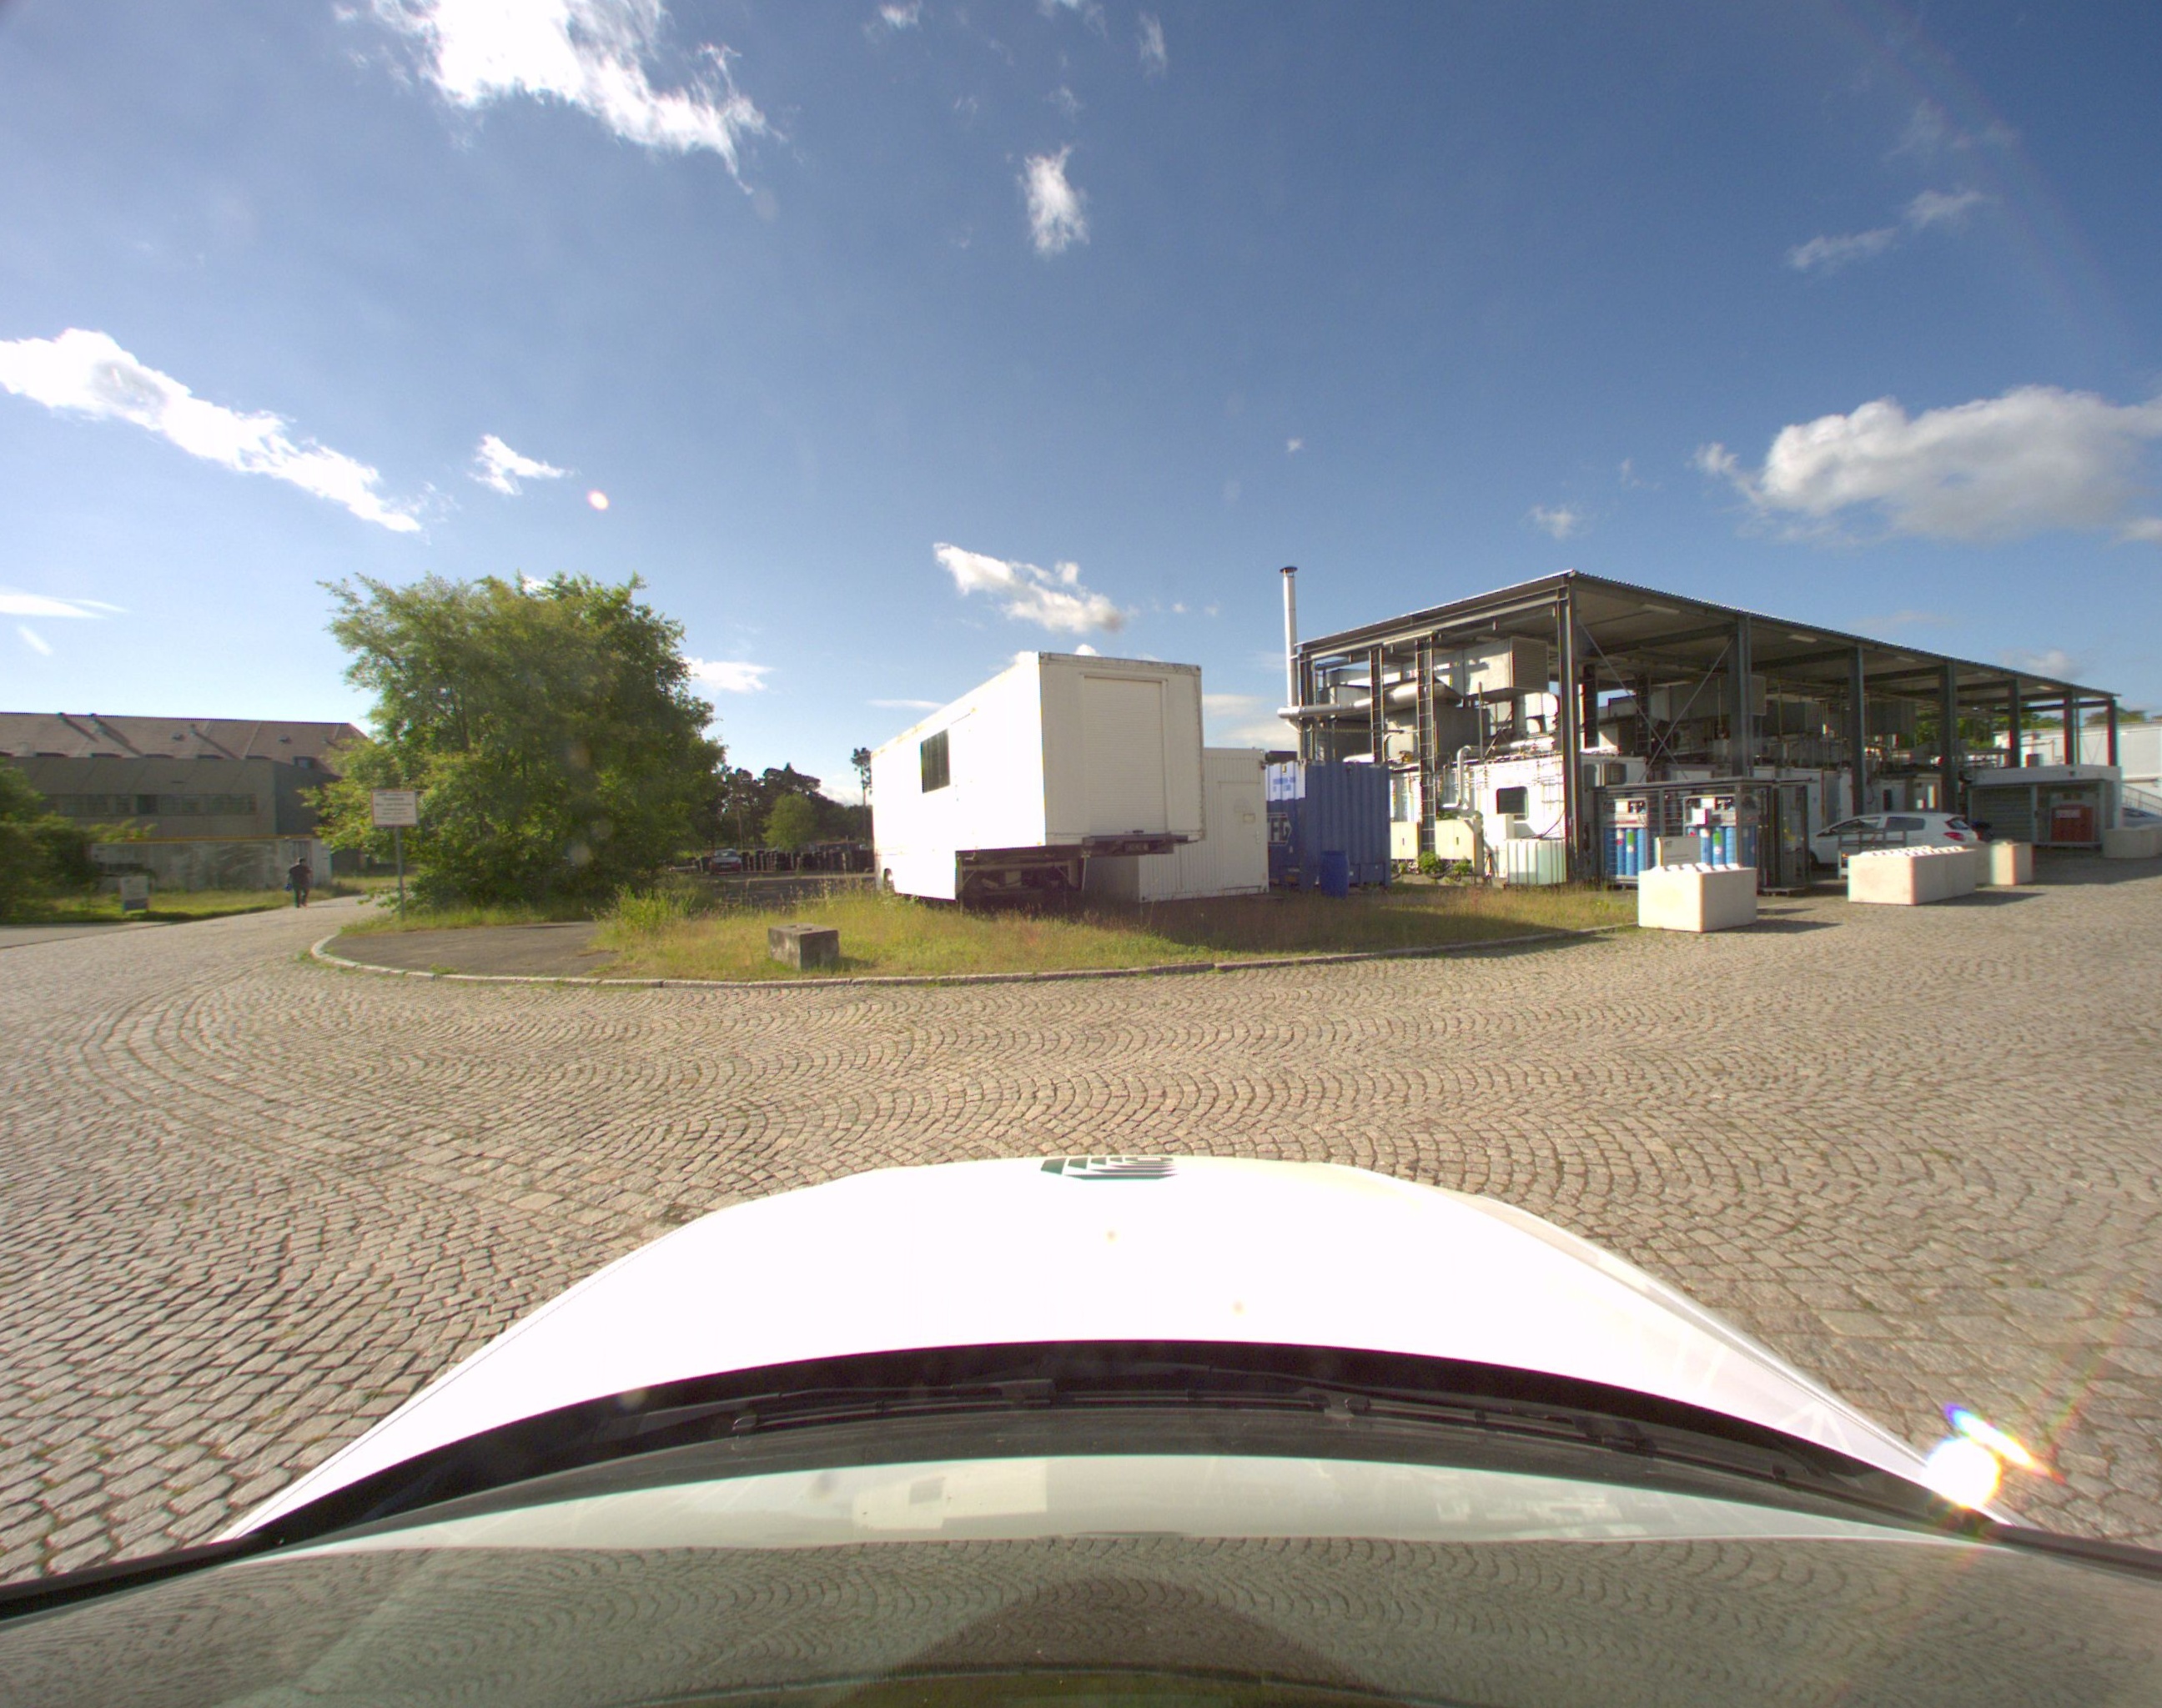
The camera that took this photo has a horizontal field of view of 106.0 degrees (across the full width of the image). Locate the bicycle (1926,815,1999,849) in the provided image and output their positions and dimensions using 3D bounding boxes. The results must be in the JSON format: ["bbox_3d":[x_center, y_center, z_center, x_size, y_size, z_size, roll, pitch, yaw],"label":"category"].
[{"bbox_3d":[31.017,-0.774,28.682,0.487,1.136,1.655,-2,1,-30],"label":"bicycle"}]

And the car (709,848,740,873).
[{"bbox_3d":[-20.890,0.356,47.815,1.547,1.406,3.551,-2,1,-23],"label":"car"}]

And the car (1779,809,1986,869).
[{"bbox_3d":[20.070,-0.368,20.523,1.617,1.375,3.438,-2,1,-32],"label":"car"}]

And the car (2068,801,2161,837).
[{"bbox_3d":[44.220,-1.464,33.976,1.681,1.408,3.661,-2,1,-31],"label":"car"}]

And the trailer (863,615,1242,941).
[{"bbox_3d":[-1.508,-0.976,15.227,2.787,3.910,10.792,-2,1,-26],"label":"trailer"}]

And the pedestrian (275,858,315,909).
[{"bbox_3d":[-28.624,1.064,29.686,0.800,1.780,1.058,-1,0,-30],"label":"pedestrian"}]
